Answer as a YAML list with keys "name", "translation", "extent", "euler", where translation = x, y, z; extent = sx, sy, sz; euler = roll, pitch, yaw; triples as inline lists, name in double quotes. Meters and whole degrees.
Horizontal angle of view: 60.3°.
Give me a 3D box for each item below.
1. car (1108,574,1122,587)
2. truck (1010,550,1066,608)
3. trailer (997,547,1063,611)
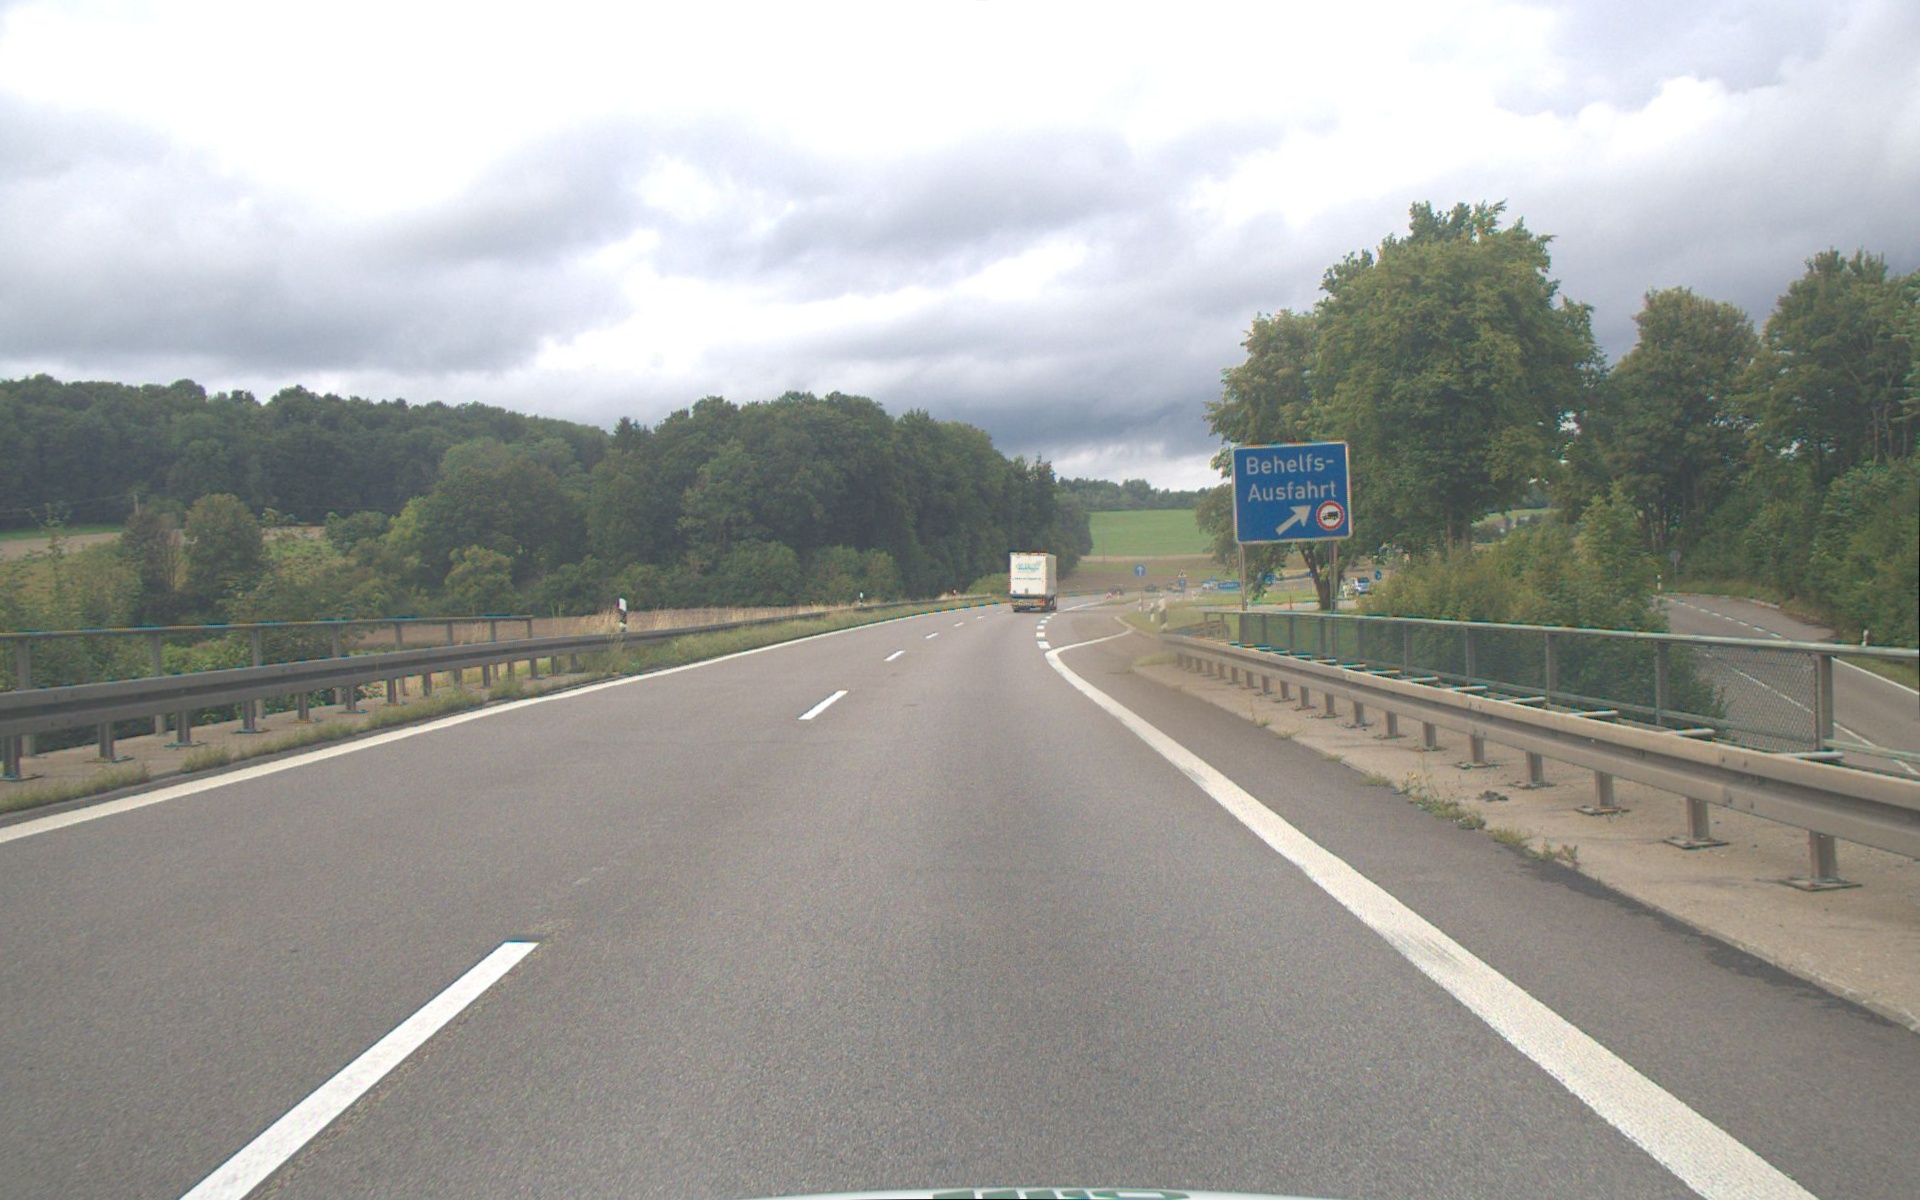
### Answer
- name: "car"
  translation: [22.859, -2.809, 243.923]
  extent: [1.862, 1.827, 4.003]
  euler: [0, -1, 7]
- name: "truck"
  translation: [5.976, -1.583, 125.188]
  extent: [3.707, 4.204, 8.271]
  euler: [0, 1, 6]
- name: "trailer"
  translation: [5.127, -1.506, 117.832]
  extent: [3.725, 4.247, 14.819]
  euler: [0, 1, 6]
